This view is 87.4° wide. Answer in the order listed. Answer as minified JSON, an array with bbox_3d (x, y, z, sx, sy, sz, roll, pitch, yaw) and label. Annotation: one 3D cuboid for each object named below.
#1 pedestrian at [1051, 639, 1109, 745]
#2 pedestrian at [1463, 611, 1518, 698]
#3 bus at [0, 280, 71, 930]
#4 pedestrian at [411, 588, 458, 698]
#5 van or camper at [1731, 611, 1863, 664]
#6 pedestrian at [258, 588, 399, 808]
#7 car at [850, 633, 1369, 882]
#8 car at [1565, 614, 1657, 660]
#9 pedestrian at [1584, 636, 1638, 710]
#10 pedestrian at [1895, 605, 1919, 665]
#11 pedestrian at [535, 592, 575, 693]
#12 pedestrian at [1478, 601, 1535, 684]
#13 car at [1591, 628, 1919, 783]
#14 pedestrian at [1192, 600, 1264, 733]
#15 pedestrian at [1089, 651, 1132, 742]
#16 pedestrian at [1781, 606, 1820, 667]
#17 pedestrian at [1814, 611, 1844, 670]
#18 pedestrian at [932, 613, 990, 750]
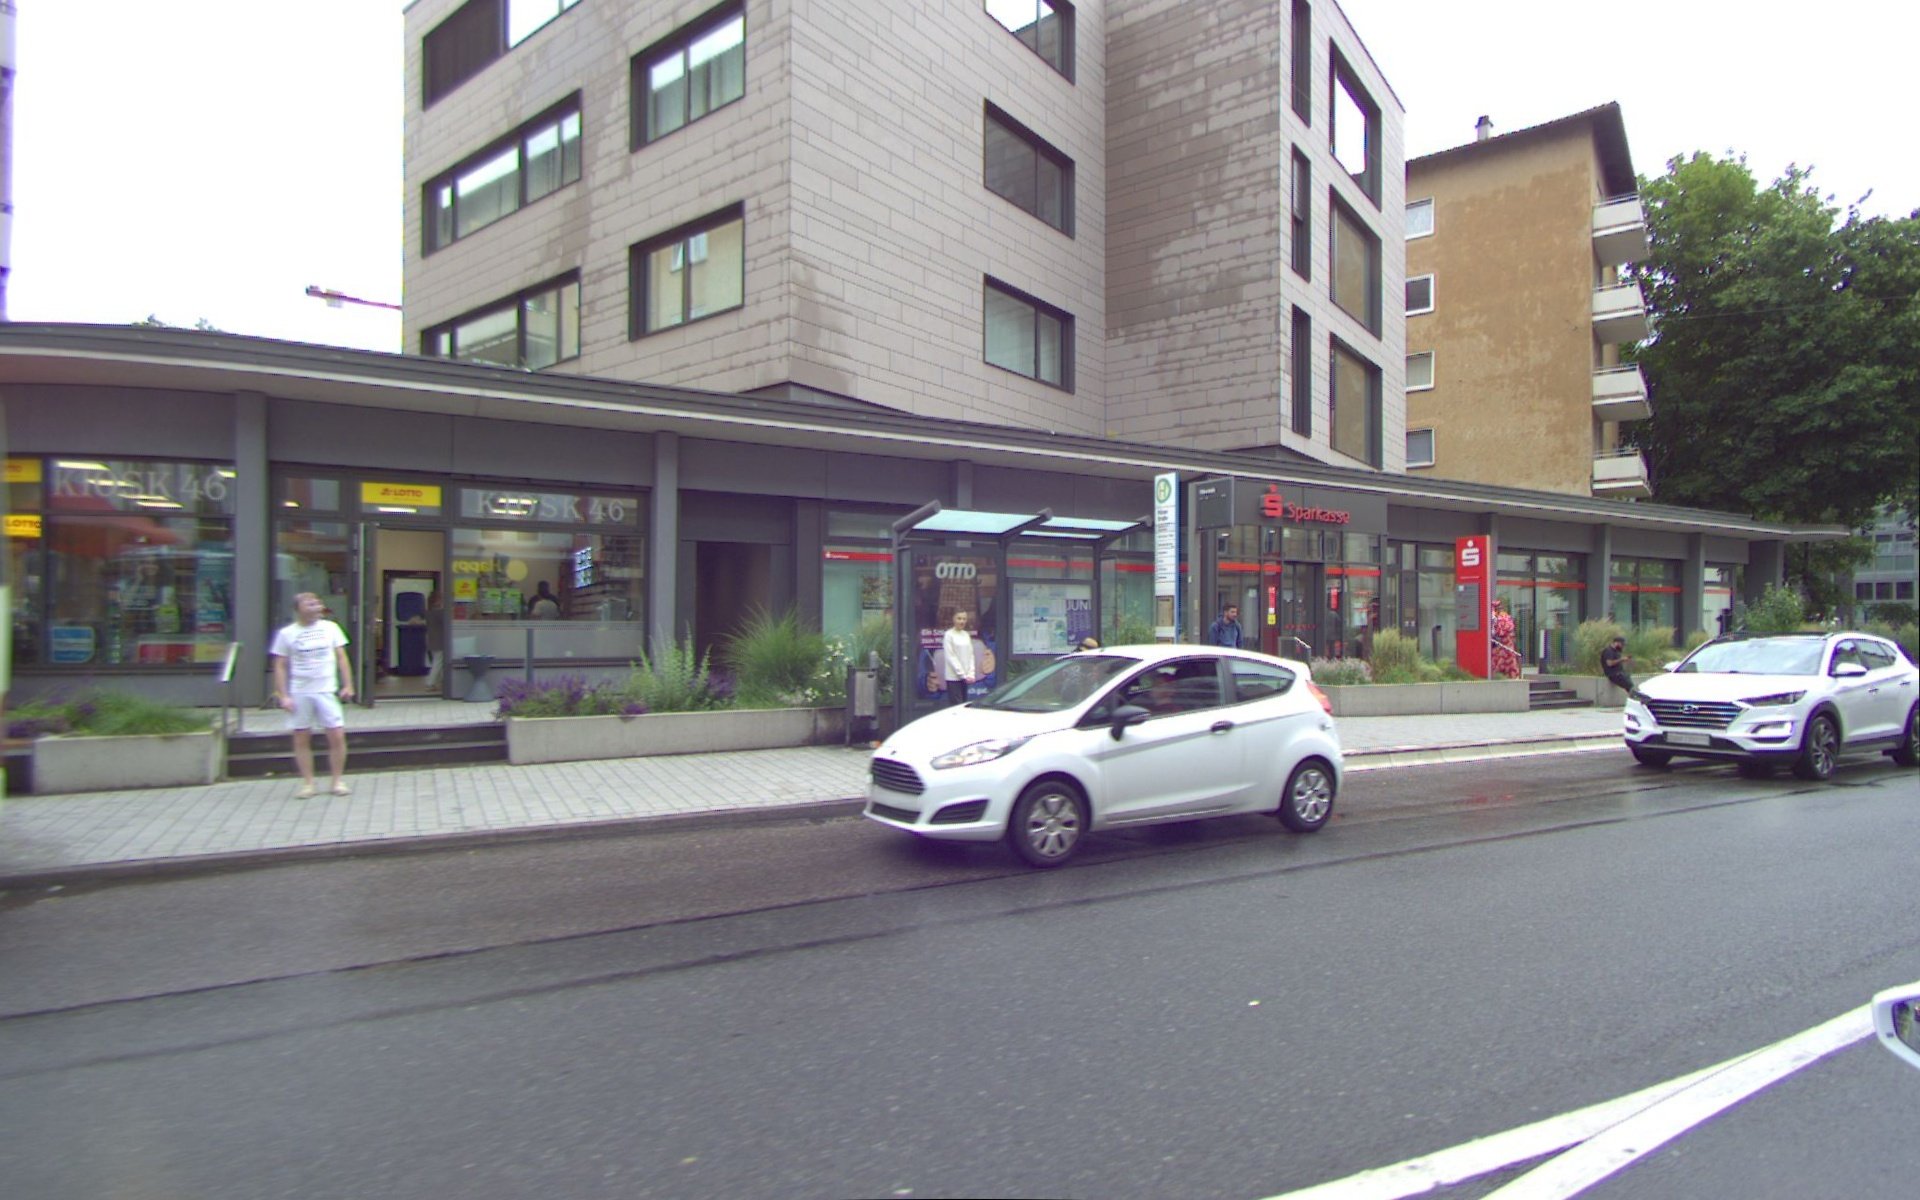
[{"bbox_3d":[1.518,1.144,12.700,0.542,1.294,0.465,1,-1,-30],"label":"pedestrian"},{"bbox_3d":[10.556,1.065,19.997,0.705,1.701,0.710,1,-1,-30],"label":"pedestrian"},{"bbox_3d":[-9.771,-0.142,1.769,11.825,3.289,2.791,2,-2,-31],"label":"bus"},{"bbox_3d":[-8.121,0.657,15.551,0.571,1.649,0.648,1,-1,-24],"label":"pedestrian"},{"bbox_3d":[40.486,1.751,48.750,4.538,2.297,2.206,2,1,32],"label":"van or camper"},{"bbox_3d":[-5.363,0.782,8.537,0.779,1.731,0.760,2,1,36],"label":"pedestrian"},{"bbox_3d":[1.202,1.021,7.721,3.761,1.483,1.608,1,-3,-30],"label":"car"},{"bbox_3d":[33.732,1.915,52.115,3.932,2.285,1.995,-1,-2,33],"label":"car"},{"bbox_3d":[13.025,1.449,20.112,0.710,1.439,0.592,1,-1,5],"label":"pedestrian"},{"bbox_3d":[29.572,1.083,31.173,0.712,1.850,0.851,0,0,38],"label":"pedestrian"},{"bbox_3d":[-6.786,0.700,16.811,0.571,1.649,0.648,1,-1,-24],"label":"pedestrian"},{"bbox_3d":[11.361,0.877,20.906,0.784,1.701,0.713,1,-1,-1],"label":"pedestrian"},{"bbox_3d":[9.795,1.210,12.232,4.076,1.593,1.887,2,-4,-30],"label":"car"},{"bbox_3d":[3.855,0.928,14.423,0.863,1.843,0.584,2,-1,-38],"label":"pedestrian"},{"bbox_3d":[1.937,1.233,12.925,0.381,1.131,0.390,1,-1,-29],"label":"pedestrian"},{"bbox_3d":[26.358,1.142,31.499,0.690,1.869,0.851,2,-1,-43],"label":"pedestrian"},{"bbox_3d":[26.647,1.236,30.808,0.647,1.782,0.718,0,-1,37],"label":"pedestrian"},{"bbox_3d":[0.011,0.947,11.855,0.527,1.570,0.435,1,-1,-30],"label":"pedestrian"}]
